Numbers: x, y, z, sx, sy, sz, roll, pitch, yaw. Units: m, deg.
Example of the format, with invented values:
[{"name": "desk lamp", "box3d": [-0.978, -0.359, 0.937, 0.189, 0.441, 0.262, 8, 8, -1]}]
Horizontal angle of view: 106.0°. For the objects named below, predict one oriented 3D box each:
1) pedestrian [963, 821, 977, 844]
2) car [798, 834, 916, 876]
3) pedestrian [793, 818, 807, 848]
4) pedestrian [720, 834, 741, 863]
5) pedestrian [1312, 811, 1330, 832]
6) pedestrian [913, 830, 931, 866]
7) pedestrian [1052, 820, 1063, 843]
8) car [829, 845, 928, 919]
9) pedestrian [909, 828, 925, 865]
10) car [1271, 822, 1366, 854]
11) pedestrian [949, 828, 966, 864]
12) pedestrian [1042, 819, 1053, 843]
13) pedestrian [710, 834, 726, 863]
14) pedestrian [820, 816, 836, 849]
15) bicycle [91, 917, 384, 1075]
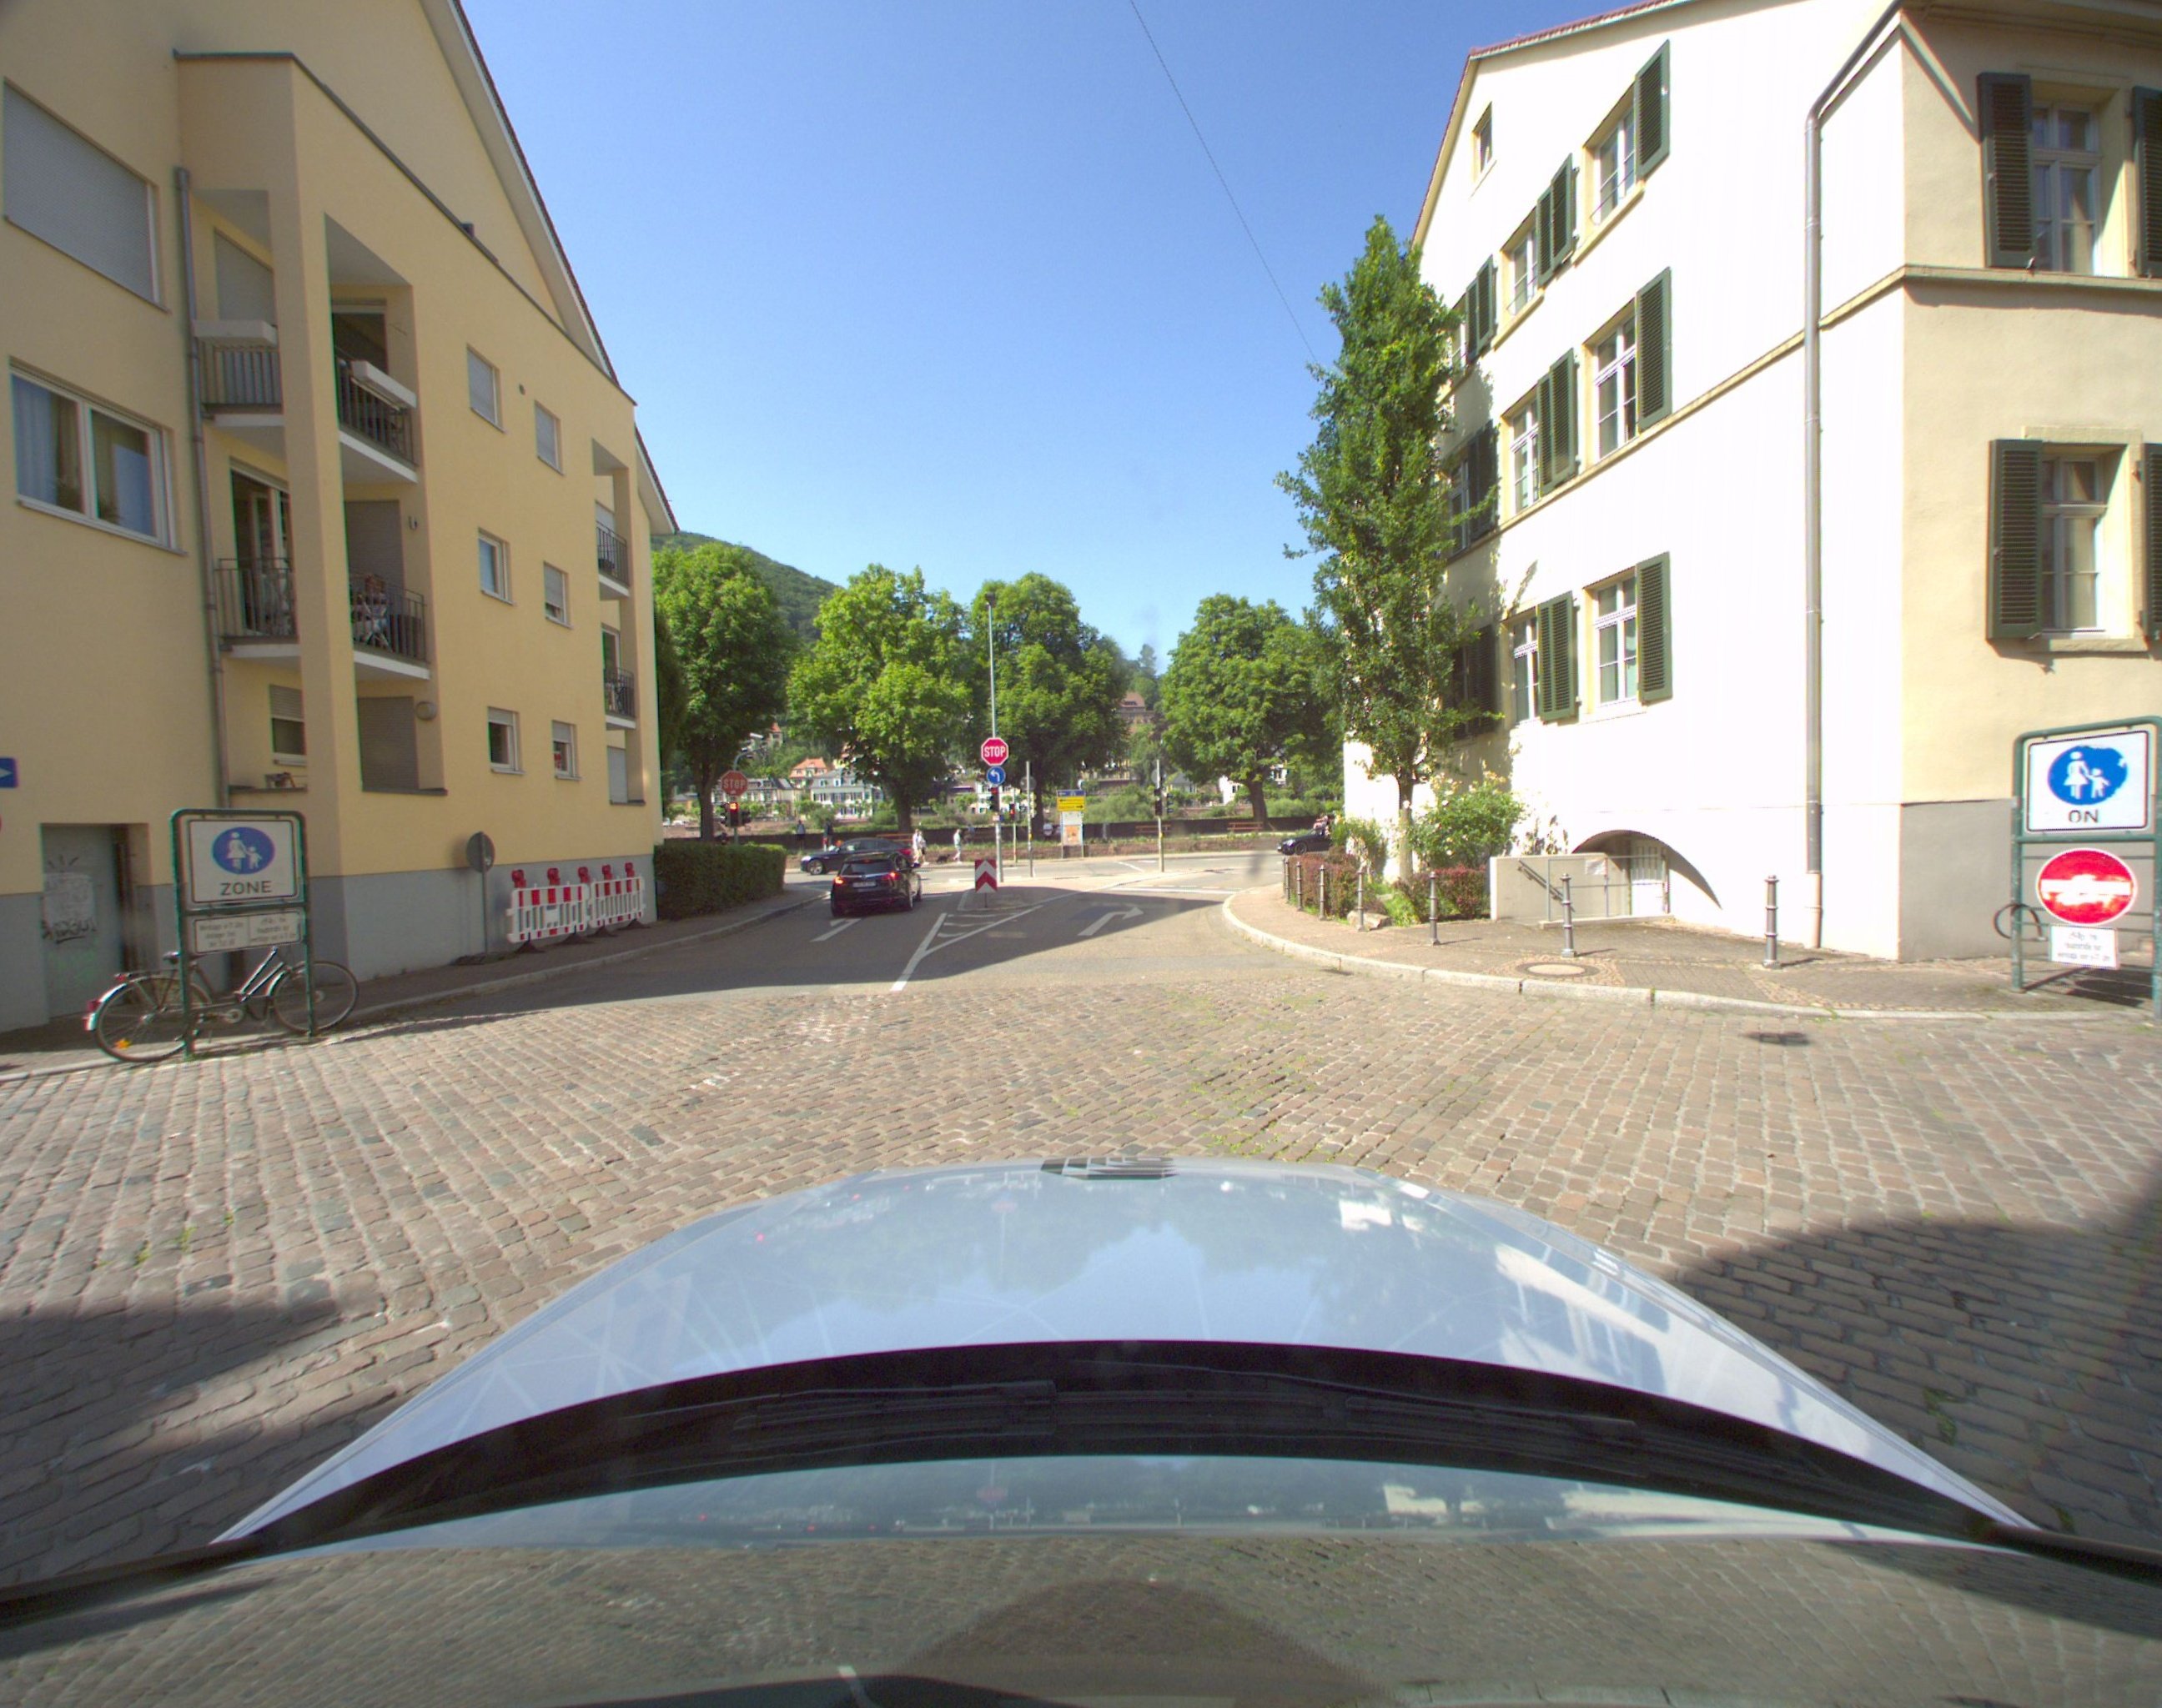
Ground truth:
[{"name": "pedestrian", "box3d": [-6.051, -1.158, 44.527, 0.643, 1.228, 0.412, -3, 1, -16]}, {"name": "car", "box3d": [-9.924, 0.013, 36.394, 4.759, 1.517, 1.901, -4, 1, -7]}, {"name": "pedestrian", "box3d": [-16.784, -1.255, 48.613, 0.709, 1.731, 0.753, -2, 1, -16]}, {"name": "pedestrian", "box3d": [-18.654, -0.290, 43.363, 0.466, 1.479, 1.384, -2, 1, -1]}, {"name": "pedestrian", "box3d": [13.864, -1.866, 47.052, 0.796, 1.211, 0.715, 0, -2, -3]}, {"name": "pedestrian", "box3d": [-8.072, -0.314, 41.444, 0.720, 1.801, 0.633, -3, 0, -3]}, {"name": "pedestrian", "box3d": [-1.320, -1.264, 45.412, 0.552, 1.228, 0.984, 0, -1, -5]}, {"name": "car", "box3d": [-4.999, 0.603, 20.719, 1.712, 1.461, 4.715, -4, 2, -6]}, {"name": "pedestrian", "box3d": [-8.072, -0.367, 40.040, 0.576, 1.801, 0.704, -3, 1, -3]}, {"name": "car", "box3d": [11.438, -0.779, 39.299, 3.981, 1.418, 1.871, -2, 1, -6]}, {"name": "pedestrian", "box3d": [-6.237, -0.418, 41.248, 0.686, 1.769, 0.717, -3, 0, -1]}, {"name": "pedestrian", "box3d": [-1.866, -1.273, 45.171, 0.552, 1.279, 0.703, 0, -2, -4]}, {"name": "pedestrian", "box3d": [-19.188, -0.285, 43.081, 0.466, 1.493, 0.804, -2, 1, -2]}, {"name": "pedestrian", "box3d": [-14.407, -1.198, 46.388, 0.766, 1.857, 0.751, -2, 1, -23]}, {"name": "bicycle", "box3d": [-7.682, 1.229, 7.574, 0.388, 1.079, 1.917, -2, 2, 13]}]
